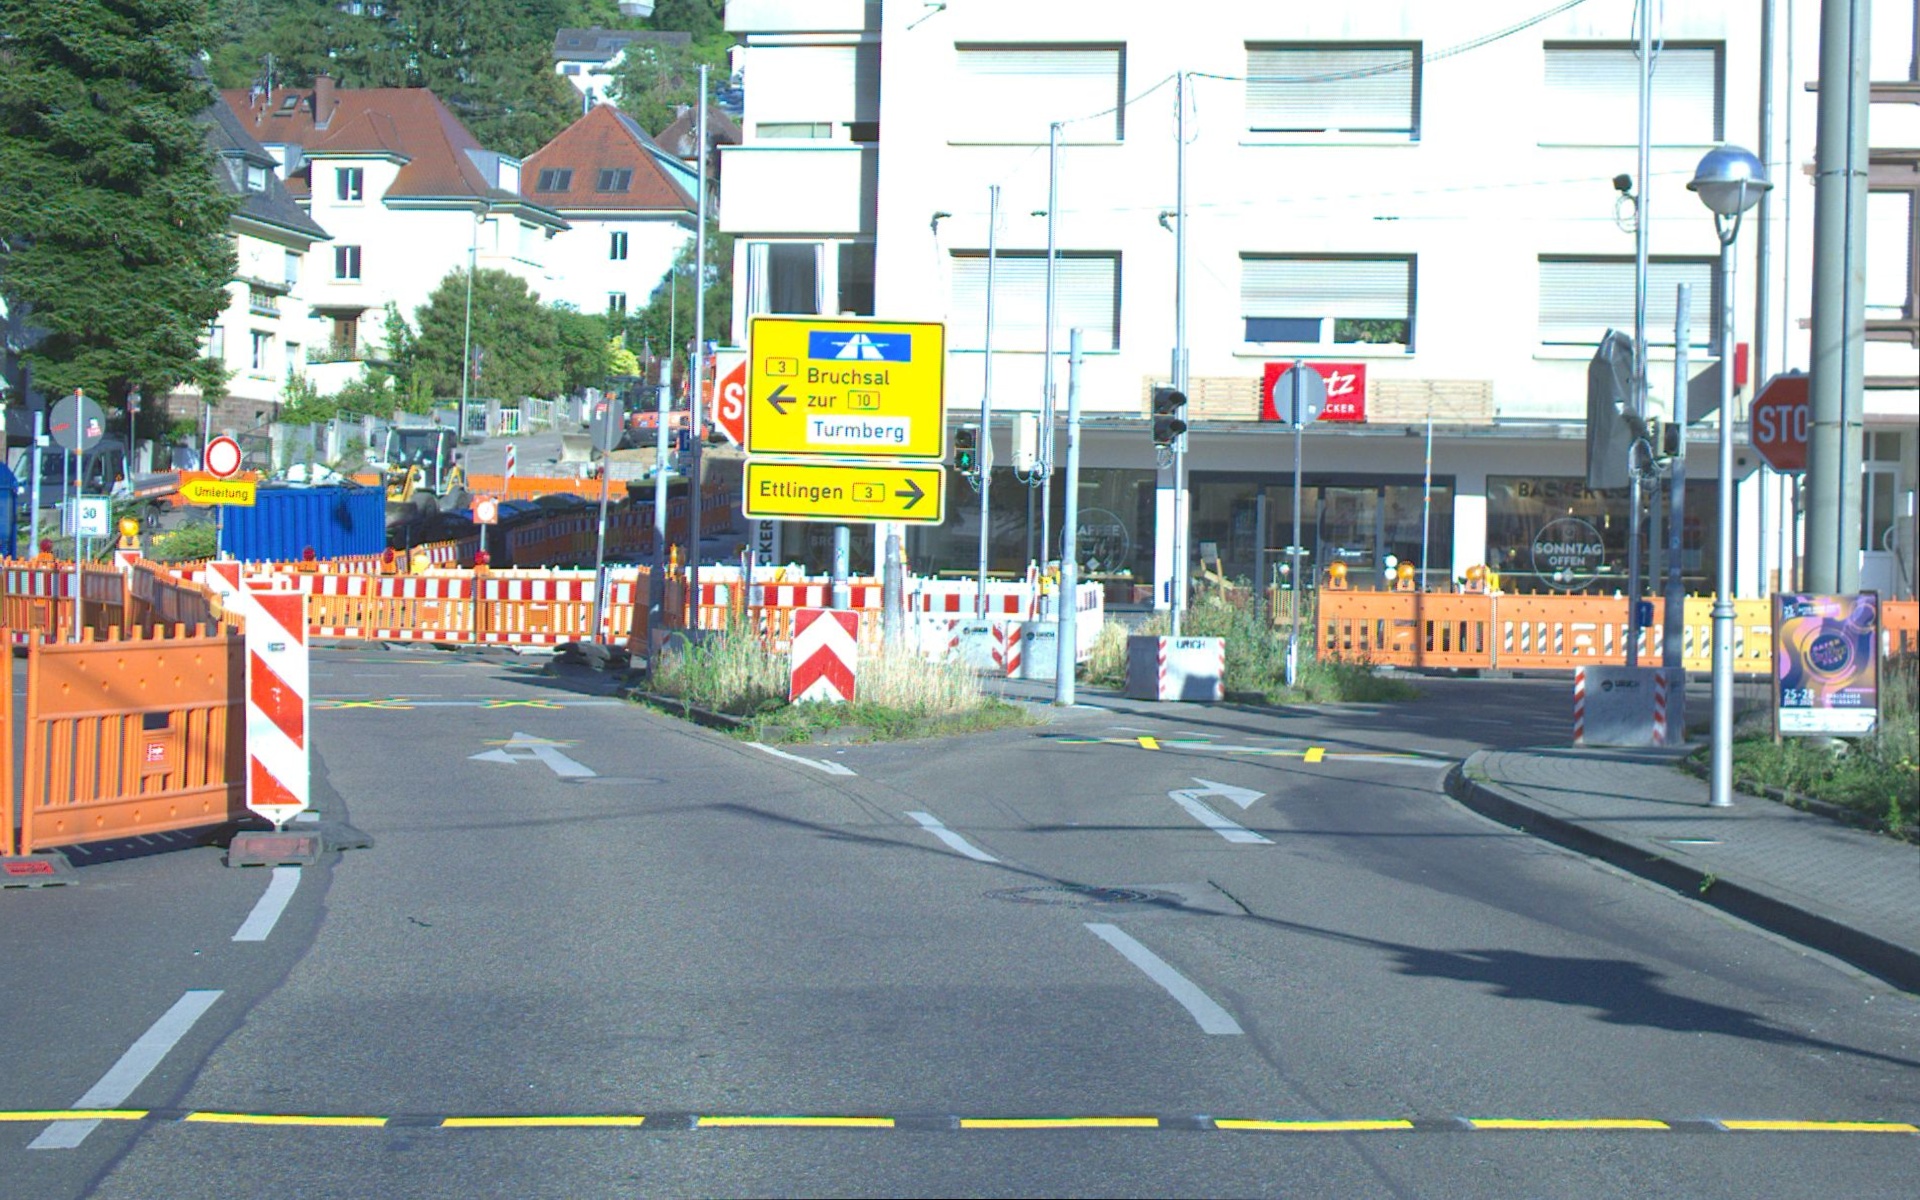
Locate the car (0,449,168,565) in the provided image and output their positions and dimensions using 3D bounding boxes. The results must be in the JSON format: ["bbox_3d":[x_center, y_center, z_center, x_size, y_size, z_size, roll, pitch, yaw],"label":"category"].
[{"bbox_3d":[-17.989,-1.755,66.137,2.585,2.113,6.145,1,1,18],"label":"car"}]

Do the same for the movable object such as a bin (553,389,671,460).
[{"bbox_3d":[-11.587,-5.838,114.849,2.566,2.114,5.782,1,1,8],"label":"movable object such as a bin"}]

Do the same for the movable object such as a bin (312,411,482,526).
[{"bbox_3d":[-12.887,-2.989,78.955,1.950,2.486,4.547,1,1,18],"label":"movable object such as a bin"}]
